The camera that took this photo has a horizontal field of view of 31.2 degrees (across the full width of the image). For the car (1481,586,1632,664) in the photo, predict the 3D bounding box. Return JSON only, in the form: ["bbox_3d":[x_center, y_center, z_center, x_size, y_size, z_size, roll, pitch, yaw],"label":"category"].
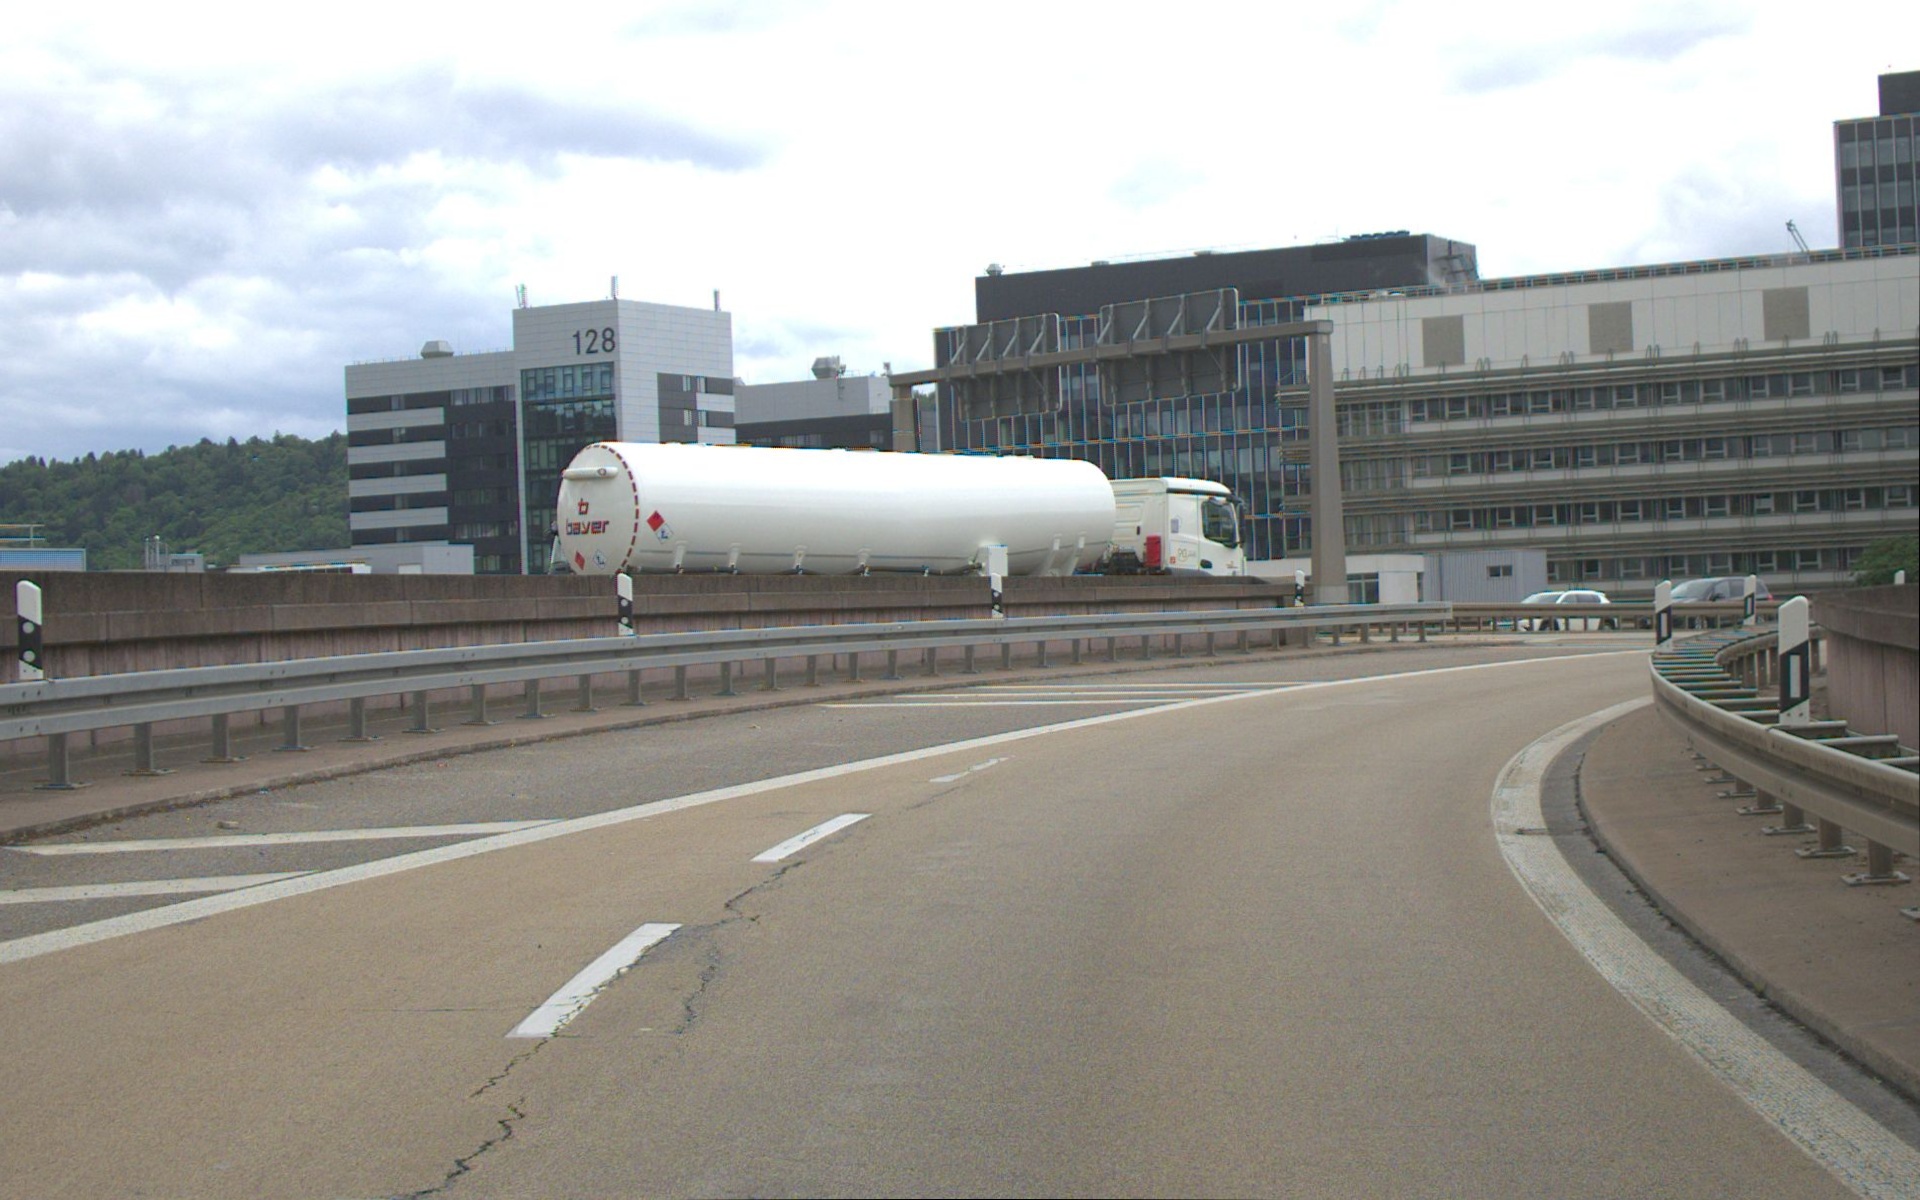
[{"bbox_3d":[17.197,0.716,99.031,3.988,2.006,2.000,1,5,-39],"label":"car"}]

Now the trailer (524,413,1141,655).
[{"bbox_3d":[-1.921,-1.083,58.150,11.123,3.725,2.799,-1,-1,-42],"label":"trailer"}]

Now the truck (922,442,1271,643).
[{"bbox_3d":[2.511,-1.017,62.082,5.948,3.419,2.777,-1,-1,-41],"label":"truck"}]

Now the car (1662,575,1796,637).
[{"bbox_3d":[20.805,0.167,92.958,3.675,1.586,1.649,-1,-1,-41],"label":"car"}]
